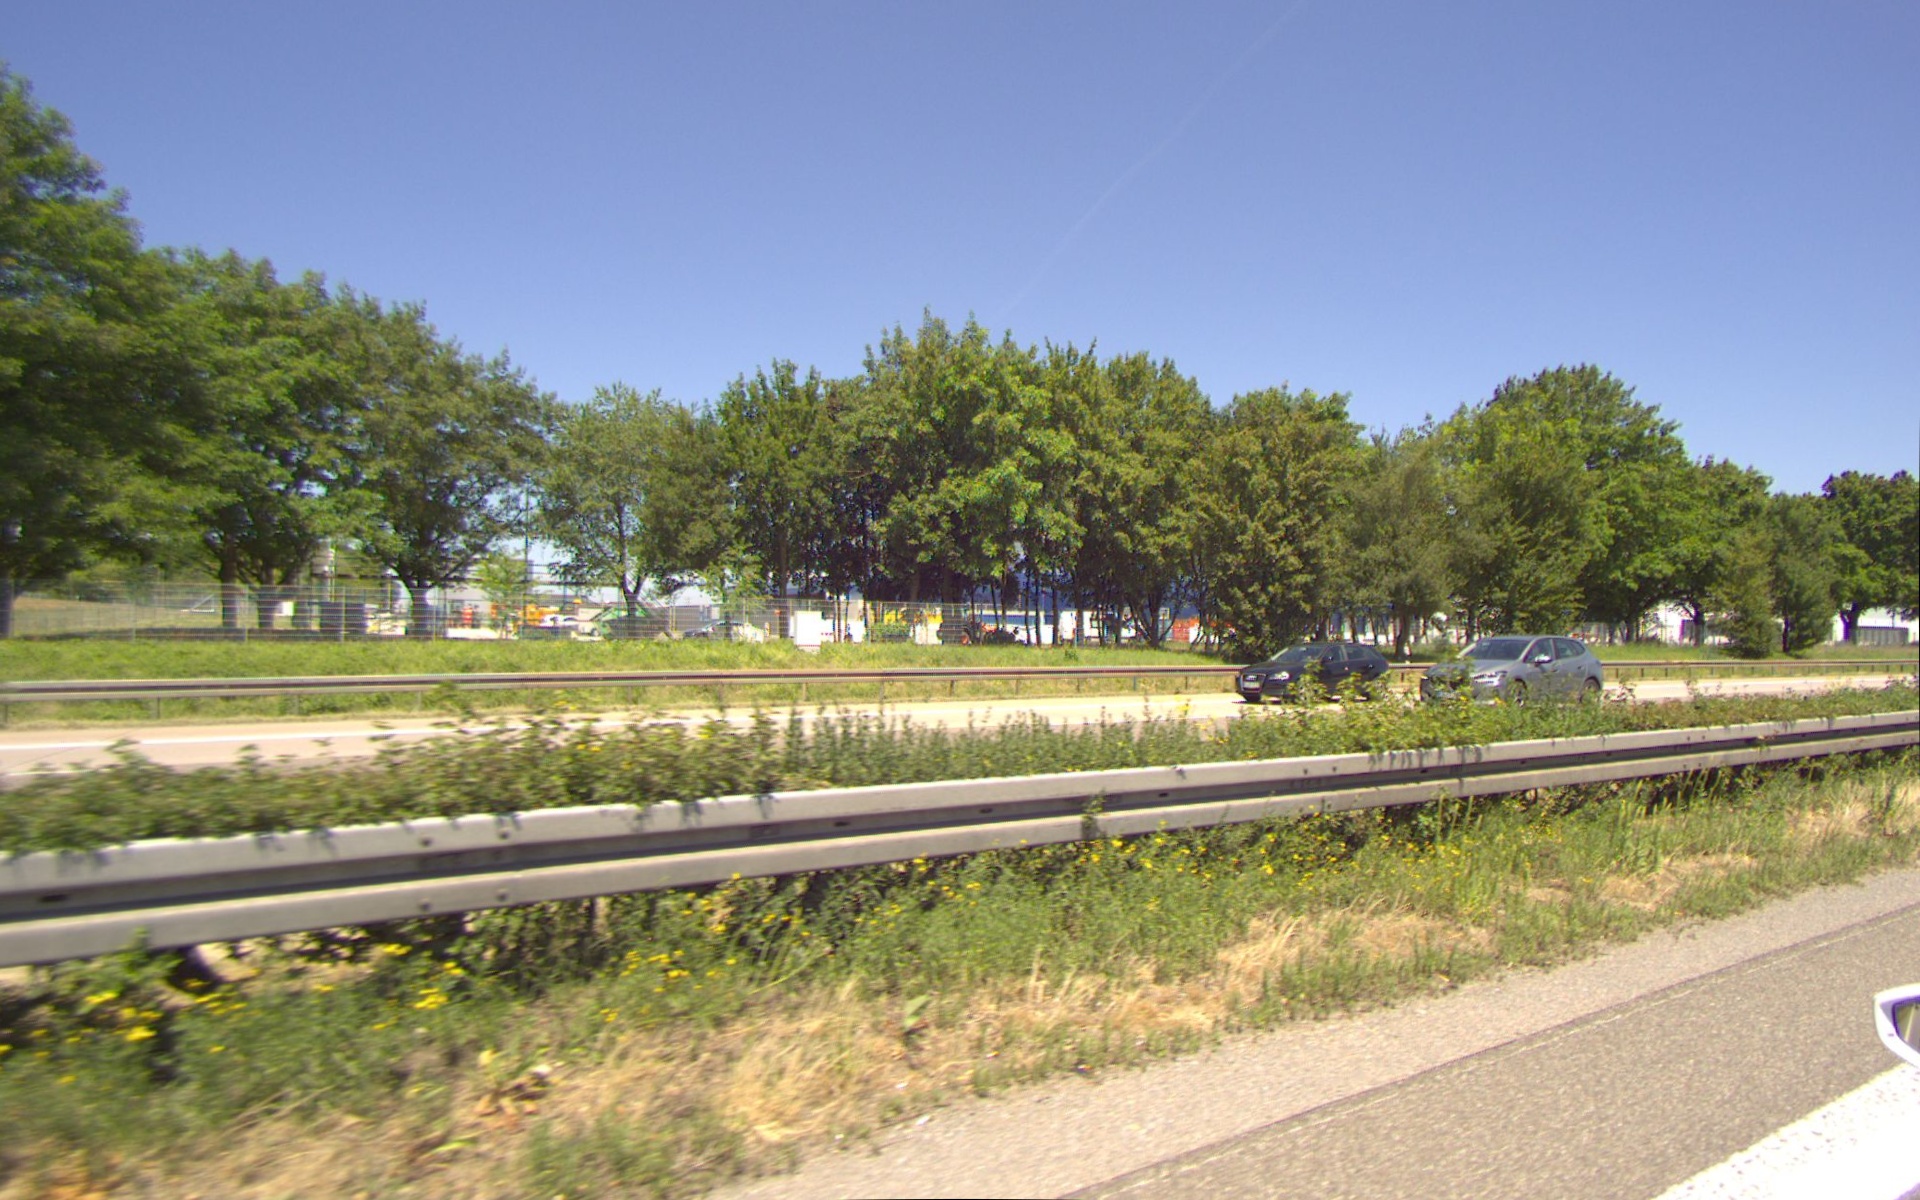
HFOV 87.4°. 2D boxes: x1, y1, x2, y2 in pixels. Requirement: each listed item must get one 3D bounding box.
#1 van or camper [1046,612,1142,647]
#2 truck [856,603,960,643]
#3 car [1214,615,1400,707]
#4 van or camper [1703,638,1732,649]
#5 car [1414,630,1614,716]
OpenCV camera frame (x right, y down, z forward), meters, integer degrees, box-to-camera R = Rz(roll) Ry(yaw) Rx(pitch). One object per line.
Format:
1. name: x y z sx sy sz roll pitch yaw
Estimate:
1. van or camper: 10.365 2.310 77.458 7.639 2.586 2.345 2 -2 -32
2. truck: -4.430 2.059 86.022 8.197 3.233 3.534 2 -2 -30
3. car: 8.323 1.429 24.038 4.223 2.040 1.984 2 -2 -31
4. van or camper: 123.097 7.120 163.215 4.960 1.674 1.985 2 -2 -30
5. car: 11.402 1.439 20.634 4.164 1.599 1.783 2 -2 -31
